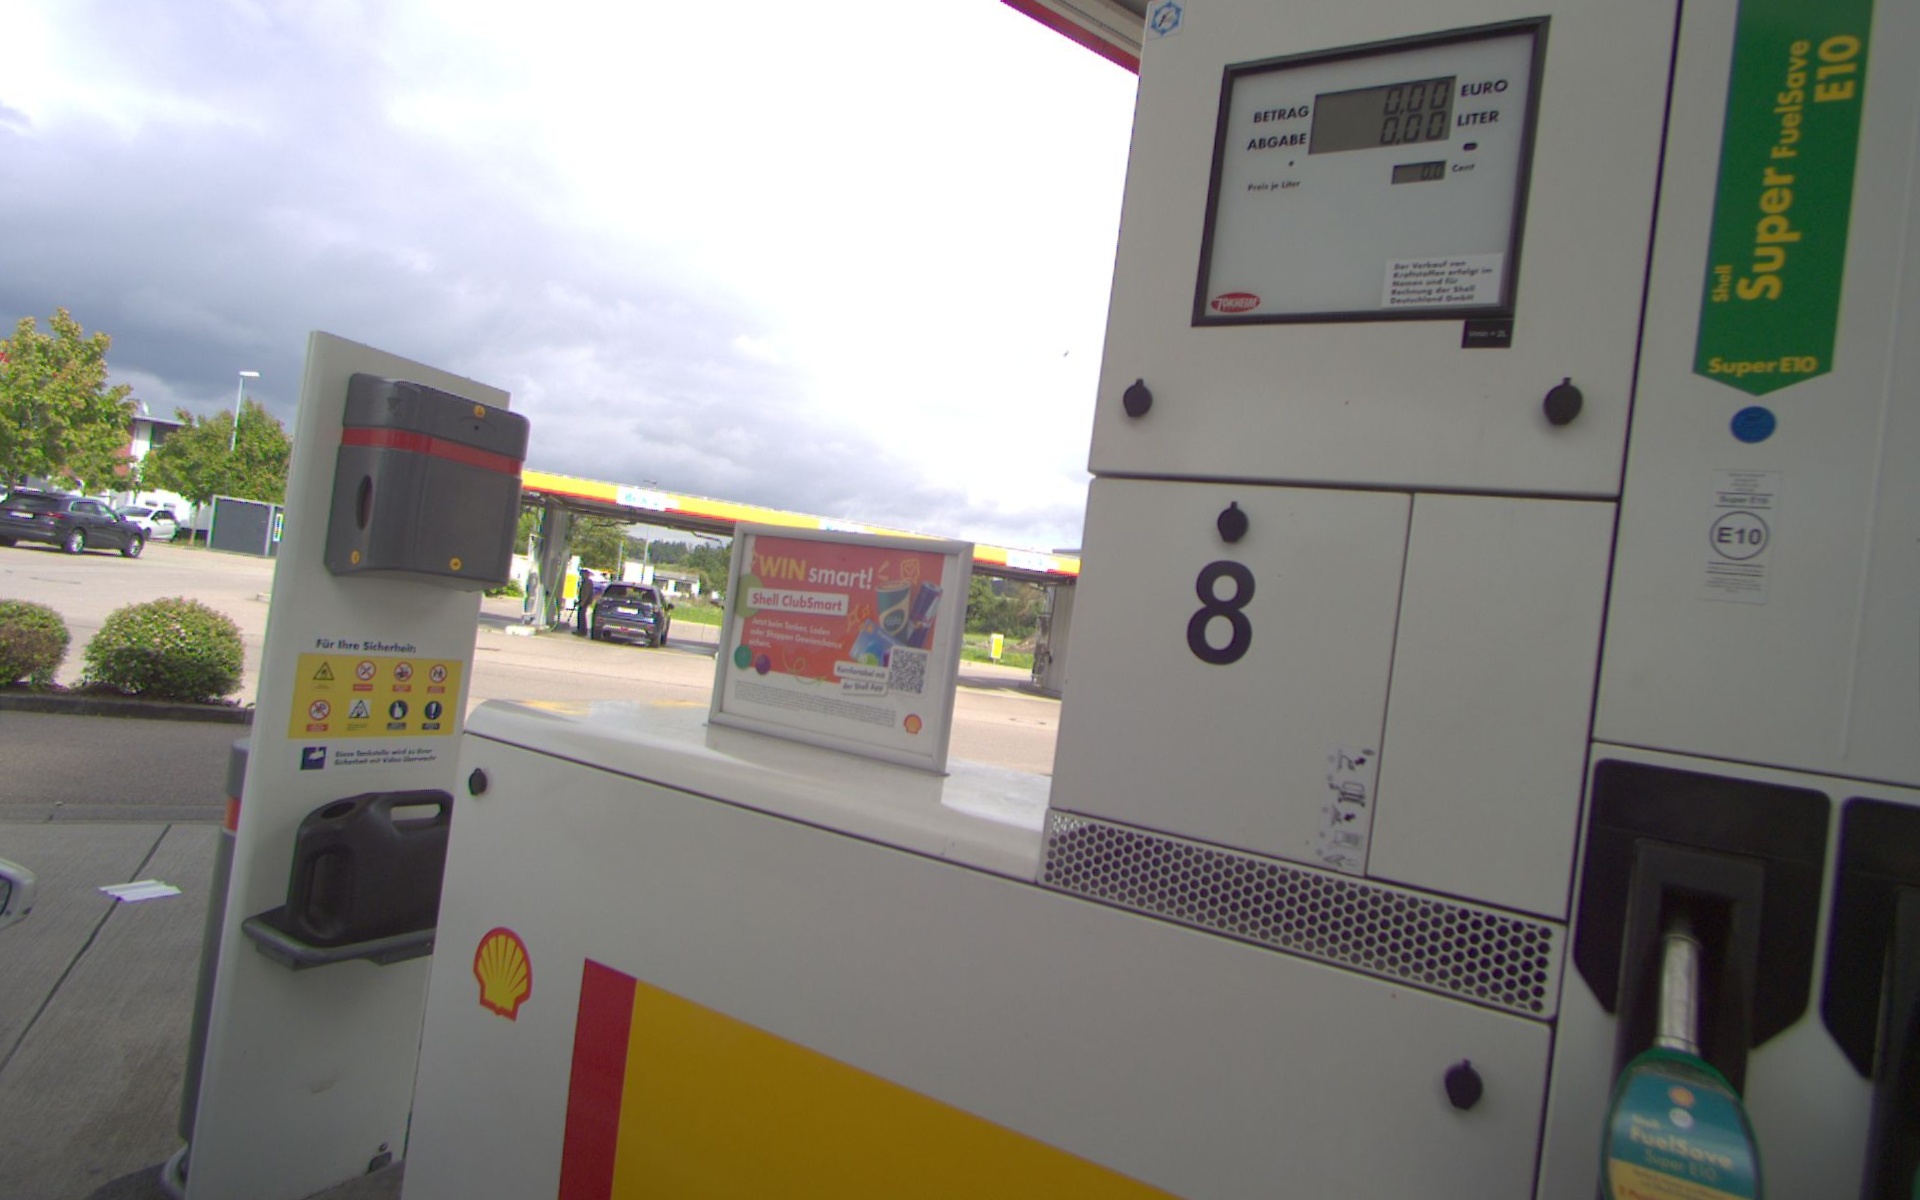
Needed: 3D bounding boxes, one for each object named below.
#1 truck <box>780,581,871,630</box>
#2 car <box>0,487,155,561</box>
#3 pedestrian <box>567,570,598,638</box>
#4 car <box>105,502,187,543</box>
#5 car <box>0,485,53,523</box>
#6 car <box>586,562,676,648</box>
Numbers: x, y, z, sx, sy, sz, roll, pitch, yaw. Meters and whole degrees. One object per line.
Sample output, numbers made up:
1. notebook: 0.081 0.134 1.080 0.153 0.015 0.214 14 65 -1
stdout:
1. truck: -13.019 0.558 97.503 7.978 3.575 2.687 8 -2 -19
2. car: -25.927 -2.167 29.256 1.855 1.566 4.498 8 -2 -10
3. pedestrian: -10.074 0.099 26.886 0.550 1.742 0.526 7 -1 -19
4. car: -35.258 -3.340 43.641 1.346 1.322 3.098 8 -2 -12
5. car: -57.360 -5.904 60.235 2.149 1.854 4.870 8 -2 -11
6. car: -8.695 0.151 26.859 1.696 1.919 3.800 8 -2 -12
